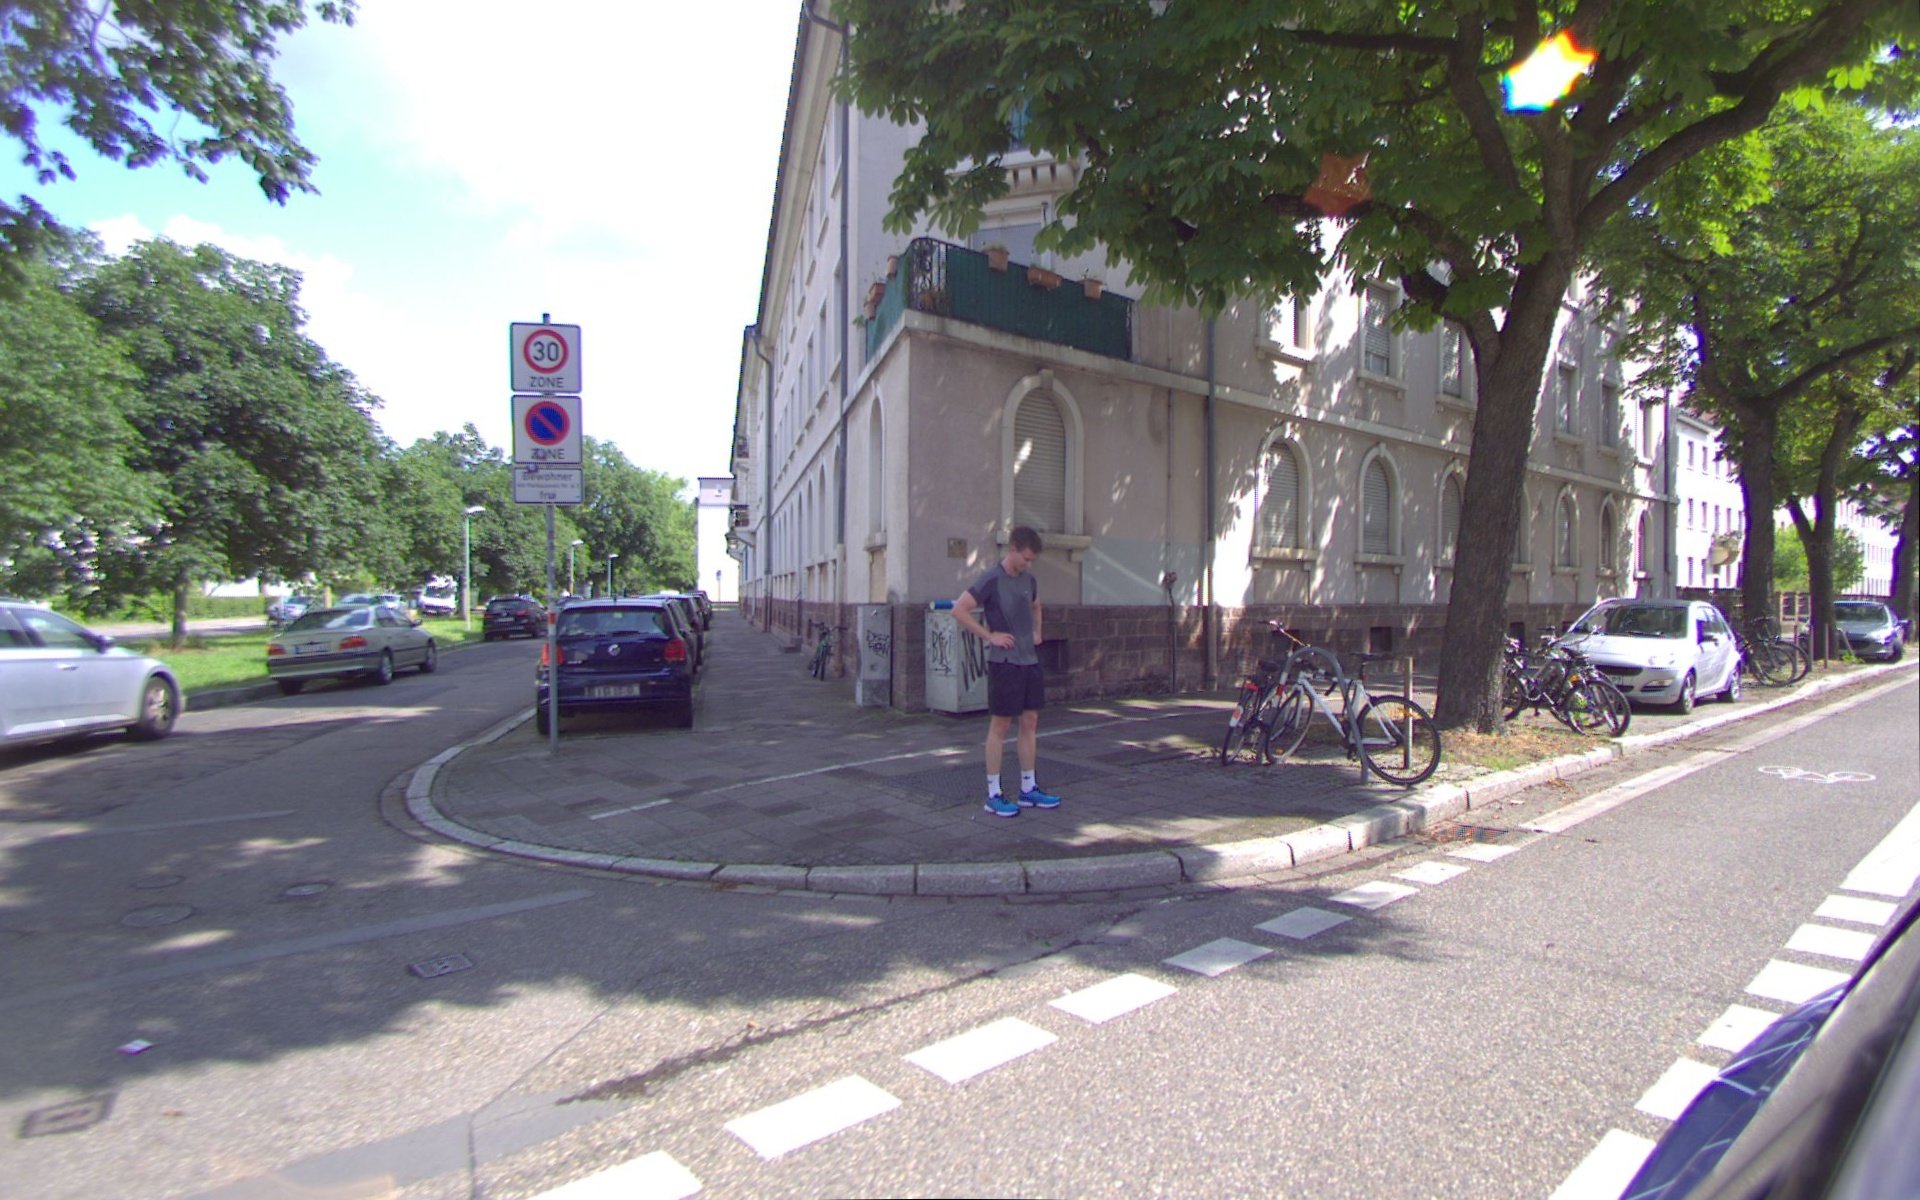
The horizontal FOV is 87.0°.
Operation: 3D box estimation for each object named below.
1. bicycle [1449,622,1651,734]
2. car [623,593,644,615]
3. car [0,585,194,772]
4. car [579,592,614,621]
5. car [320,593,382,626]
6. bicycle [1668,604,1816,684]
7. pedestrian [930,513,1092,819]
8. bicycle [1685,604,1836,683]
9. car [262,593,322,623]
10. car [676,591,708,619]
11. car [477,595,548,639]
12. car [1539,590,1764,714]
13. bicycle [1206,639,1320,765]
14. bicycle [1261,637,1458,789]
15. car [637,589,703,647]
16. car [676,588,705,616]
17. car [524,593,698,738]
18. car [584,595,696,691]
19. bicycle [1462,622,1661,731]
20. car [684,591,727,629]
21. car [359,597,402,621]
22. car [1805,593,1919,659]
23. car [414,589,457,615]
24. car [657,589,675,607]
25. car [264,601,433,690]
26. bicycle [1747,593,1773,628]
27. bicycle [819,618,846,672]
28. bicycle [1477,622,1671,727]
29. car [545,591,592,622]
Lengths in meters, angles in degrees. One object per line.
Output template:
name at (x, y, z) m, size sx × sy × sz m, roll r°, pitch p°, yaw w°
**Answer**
bicycle at (6.433, 0.807, 11.142) m, size 0.395 × 1.085 × 1.907 m, roll 0°, pitch 0°, yaw -40°
car at (-28.680, 0.323, 88.970) m, size 1.676 × 1.891 × 3.751 m, roll 0°, pitch 0°, yaw -16°
car at (-8.731, 0.637, 8.604) m, size 1.830 × 1.494 × 4.584 m, roll -1°, pitch 1°, yaw -13°
car at (-21.114, 0.348, 58.904) m, size 1.676 × 1.665 × 3.751 m, roll 0°, pitch 0°, yaw -16°
car at (-30.291, 0.448, 50.422) m, size 1.676 × 1.576 × 3.879 m, roll 0°, pitch 0°, yaw -16°
bicycle at (12.964, 0.702, 16.849) m, size 0.503 × 1.190 × 1.903 m, roll 0°, pitch 2°, yaw -29°
pedestrian at (0.342, 0.384, 6.654) m, size 0.864 × 1.858 × 0.611 m, roll -2°, pitch 2°, yaw -43°
bicycle at (13.451, 0.695, 17.081) m, size 0.503 × 1.190 × 1.946 m, roll 0°, pitch 2°, yaw -29°
car at (-36.773, 0.421, 55.831) m, size 1.676 × 1.576 × 3.879 m, roll 0°, pitch 0°, yaw -16°
car at (-15.228, 0.256, 57.383) m, size 1.676 × 1.529 × 3.751 m, roll 0°, pitch 0°, yaw -16°
car at (-15.266, 0.533, 34.683) m, size 1.676 × 1.417 × 3.751 m, roll 0°, pitch 0°, yaw -16°
car at (9.739, 0.617, 14.166) m, size 3.700 × 1.448 × 1.670 m, roll 0°, pitch 3°, yaw -41°
bicycle at (2.647, 0.835, 8.738) m, size 0.258 × 0.911 × 1.746 m, roll 1°, pitch 1°, yaw 40°
bicycle at (3.042, 0.824, 7.832) m, size 0.254 × 0.995 × 1.495 m, roll 0°, pitch 1°, yaw -38°
car at (-8.146, 0.459, 28.494) m, size 1.676 × 1.499 × 3.751 m, roll 0°, pitch 0°, yaw -16°
car at (-16.678, 0.111, 62.645) m, size 1.676 × 1.665 × 3.751 m, roll 0°, pitch 0°, yaw -16°
car at (-4.091, 0.640, 12.092) m, size 1.673 × 1.424 × 3.572 m, roll -1°, pitch 1°, yaw -17°
car at (-5.450, 0.650, 17.580) m, size 1.628 × 1.442 × 3.727 m, roll -1°, pitch 1°, yaw -15°
bicycle at (6.735, 0.815, 11.432) m, size 0.395 × 1.085 × 1.907 m, roll 0°, pitch 0°, yaw -40°
car at (-10.776, 0.392, 42.761) m, size 1.676 × 1.499 × 3.751 m, roll 0°, pitch 0°, yaw -16°
car at (-39.913, 0.607, 69.814) m, size 1.676 × 1.576 × 3.879 m, roll 0°, pitch 0°, yaw -16°
car at (22.464, 0.574, 25.094) m, size 4.322 × 1.426 × 1.848 m, roll -1°, pitch 2°, yaw -44°
car at (-33.221, 0.092, 64.202) m, size 1.676 × 1.576 × 3.879 m, roll 0°, pitch 0°, yaw -16°
car at (-30.489, -0.220, 104.976) m, size 1.812 × 1.920 × 3.751 m, roll 0°, pitch 0°, yaw -16°
car at (-11.006, 0.739, 18.498) m, size 1.553 × 1.397 × 3.829 m, roll -1°, pitch 1°, yaw -14°
bicycle at (29.198, 0.371, 36.936) m, size 1.674 × 1.227 × 0.413 m, roll 0°, pitch 0°, yaw -41°
bicycle at (-2.138, 0.737, 16.885) m, size 0.315 × 0.833 × 1.356 m, roll 0°, pitch 0°, yaw -12°
bicycle at (7.085, 0.823, 11.767) m, size 0.395 × 1.085 × 1.907 m, roll 0°, pitch 0°, yaw -40°
car at (-18.386, 0.291, 47.648) m, size 1.676 × 1.417 × 3.751 m, roll 0°, pitch 0°, yaw -16°
